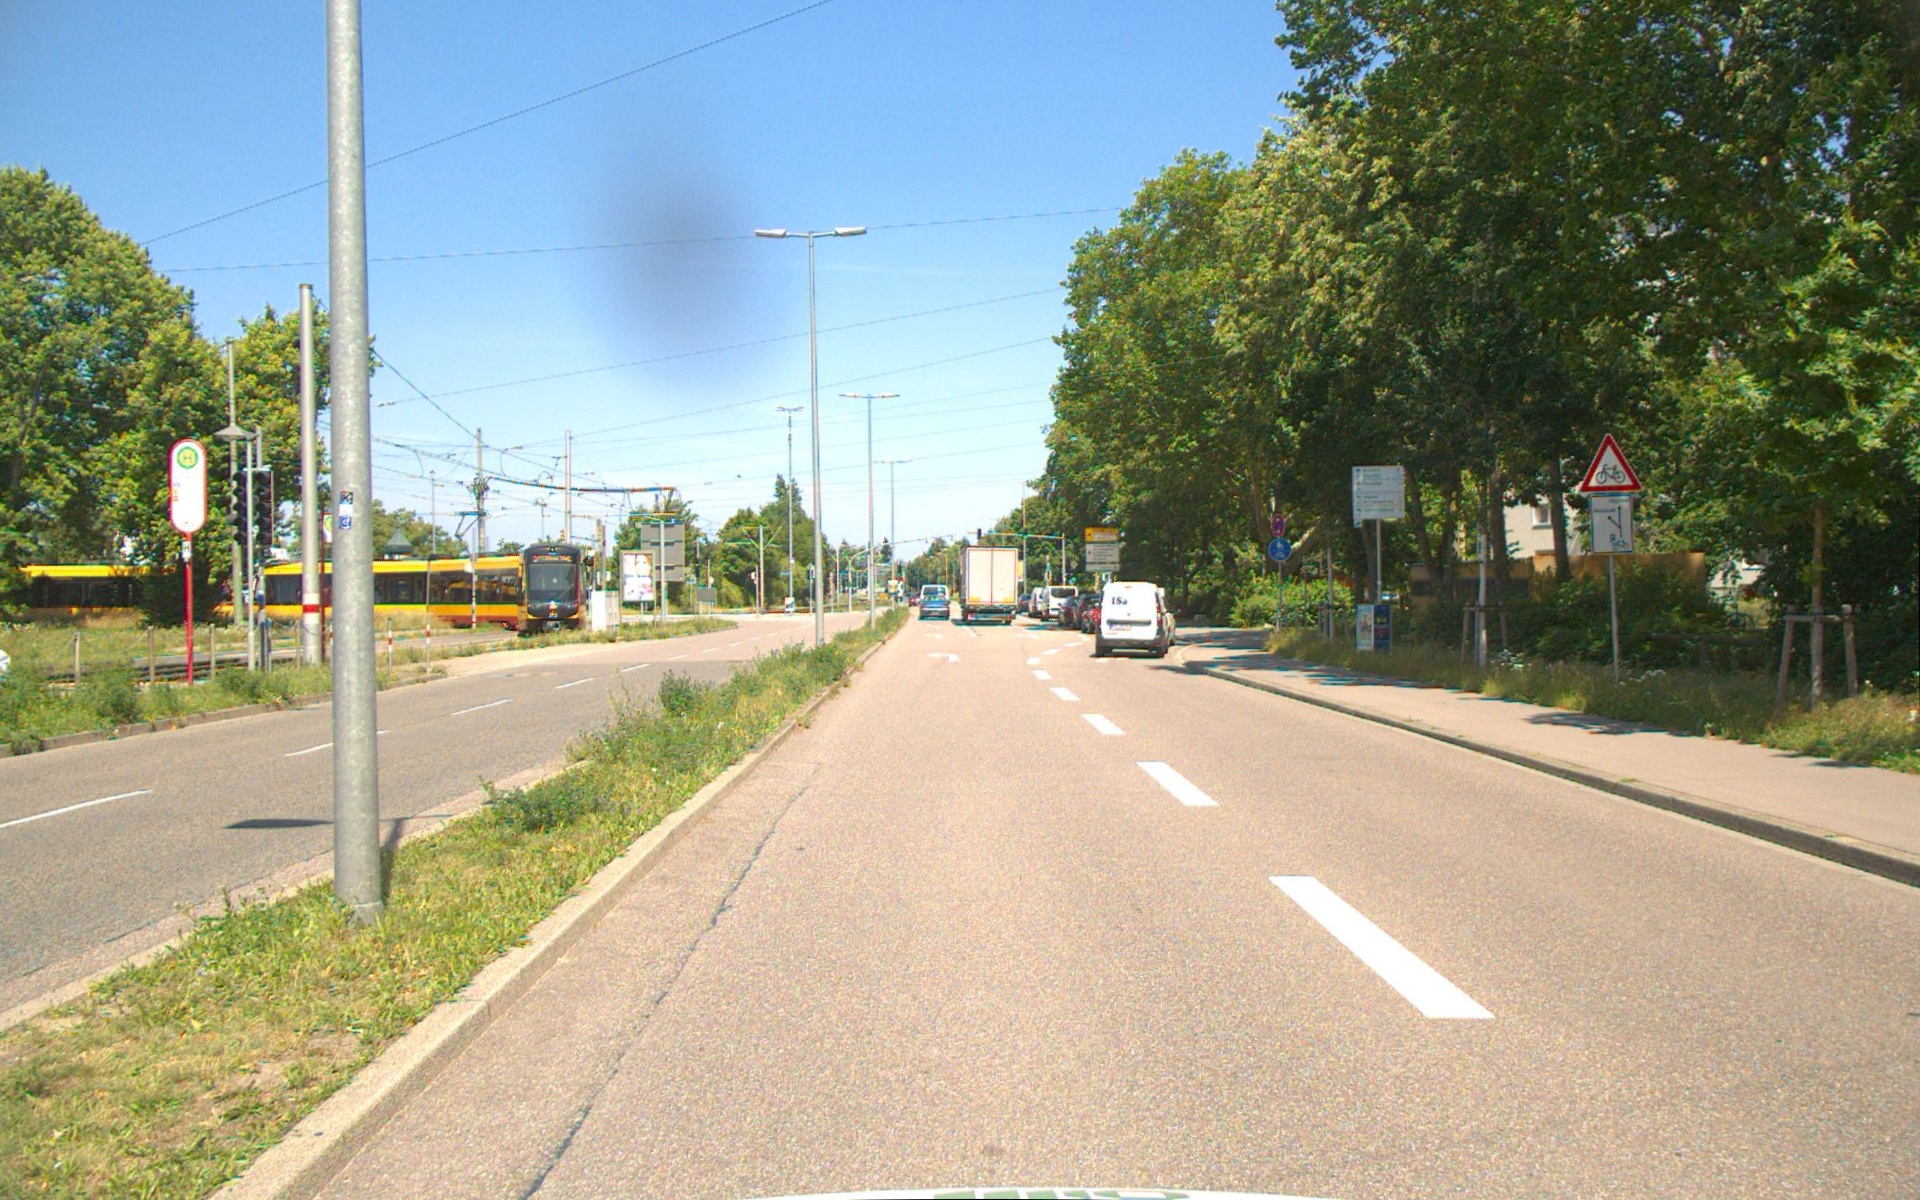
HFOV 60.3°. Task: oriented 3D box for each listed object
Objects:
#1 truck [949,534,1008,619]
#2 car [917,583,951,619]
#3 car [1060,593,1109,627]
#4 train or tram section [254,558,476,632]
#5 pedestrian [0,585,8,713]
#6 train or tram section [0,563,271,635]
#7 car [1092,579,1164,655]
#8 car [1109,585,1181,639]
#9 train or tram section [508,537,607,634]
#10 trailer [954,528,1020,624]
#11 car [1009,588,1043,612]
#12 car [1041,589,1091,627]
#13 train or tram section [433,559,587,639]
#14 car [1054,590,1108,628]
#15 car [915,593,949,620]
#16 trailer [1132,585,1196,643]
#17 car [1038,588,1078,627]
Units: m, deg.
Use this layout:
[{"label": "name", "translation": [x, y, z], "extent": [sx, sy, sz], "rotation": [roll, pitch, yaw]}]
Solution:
[{"label": "truck", "translation": [0.937, -1.302, 91.562], "extent": [2.770, 4.420, 8.281], "rotation": [1, 1, -2]}, {"label": "car", "translation": [-1.634, 0.016, 102.508], "extent": [1.954, 2.148, 4.745], "rotation": [0, 1, -3]}, {"label": "car", "translation": [6.000, 0.455, 80.388], "extent": [1.953, 1.529, 4.501], "rotation": [0, 1, -1]}, {"label": "train or tram section", "translation": [-30.658, -0.313, 84.947], "extent": [12.463, 3.526, 3.043], "rotation": [1, 0, 27]}, {"label": "pedestrian", "translation": [-12.240, 0.613, 20.516], "extent": [0.524, 1.593, 0.582], "rotation": [1, 0, -3]}, {"label": "train or tram section", "translation": [-43.198, -0.056, 86.937], "extent": [12.470, 3.526, 3.041], "rotation": [1, 0, -8]}, {"label": "car", "translation": [4.202, 0.385, 41.437], "extent": [1.673, 1.778, 4.430], "rotation": [1, 0, 6]}, {"label": "car", "translation": [5.989, 0.363, 53.855], "extent": [1.665, 1.683, 4.397], "rotation": [1, 0, -2]}, {"label": "train or tram section", "translation": [-16.584, -0.592, 67.419], "extent": [2.989, 3.526, 13.226], "rotation": [1, 0, -18]}, {"label": "trailer", "translation": [1.263, -1.178, 83.078], "extent": [2.770, 4.499, 8.745], "rotation": [1, 0, -3]}, {"label": "car", "translation": [4.196, 0.005, 105.241], "extent": [1.953, 1.462, 4.251], "rotation": [0, 1, 0]}, {"label": "car", "translation": [4.654, 0.330, 73.105], "extent": [1.821, 1.576, 3.885], "rotation": [1, 0, -2]}, {"label": "train or tram section", "translation": [-21.362, -0.098, 77.977], "extent": [3.018, 3.526, 10.074], "rotation": [1, 0, -40]}, {"label": "car", "translation": [4.706, 0.317, 64.648], "extent": [1.621, 1.421, 4.265], "rotation": [1, 0, -2]}, {"label": "car", "translation": [-1.643, 0.404, 94.906], "extent": [1.854, 1.396, 4.428], "rotation": [2, -2, -2]}, {"label": "trailer", "translation": [6.170, 0.397, 50.211], "extent": [1.439, 1.698, 2.855], "rotation": [1, 0, -3]}, {"label": "car", "translation": [5.518, 0.392, 93.329], "extent": [1.853, 2.158, 3.885], "rotation": [1, 0, -2]}]
